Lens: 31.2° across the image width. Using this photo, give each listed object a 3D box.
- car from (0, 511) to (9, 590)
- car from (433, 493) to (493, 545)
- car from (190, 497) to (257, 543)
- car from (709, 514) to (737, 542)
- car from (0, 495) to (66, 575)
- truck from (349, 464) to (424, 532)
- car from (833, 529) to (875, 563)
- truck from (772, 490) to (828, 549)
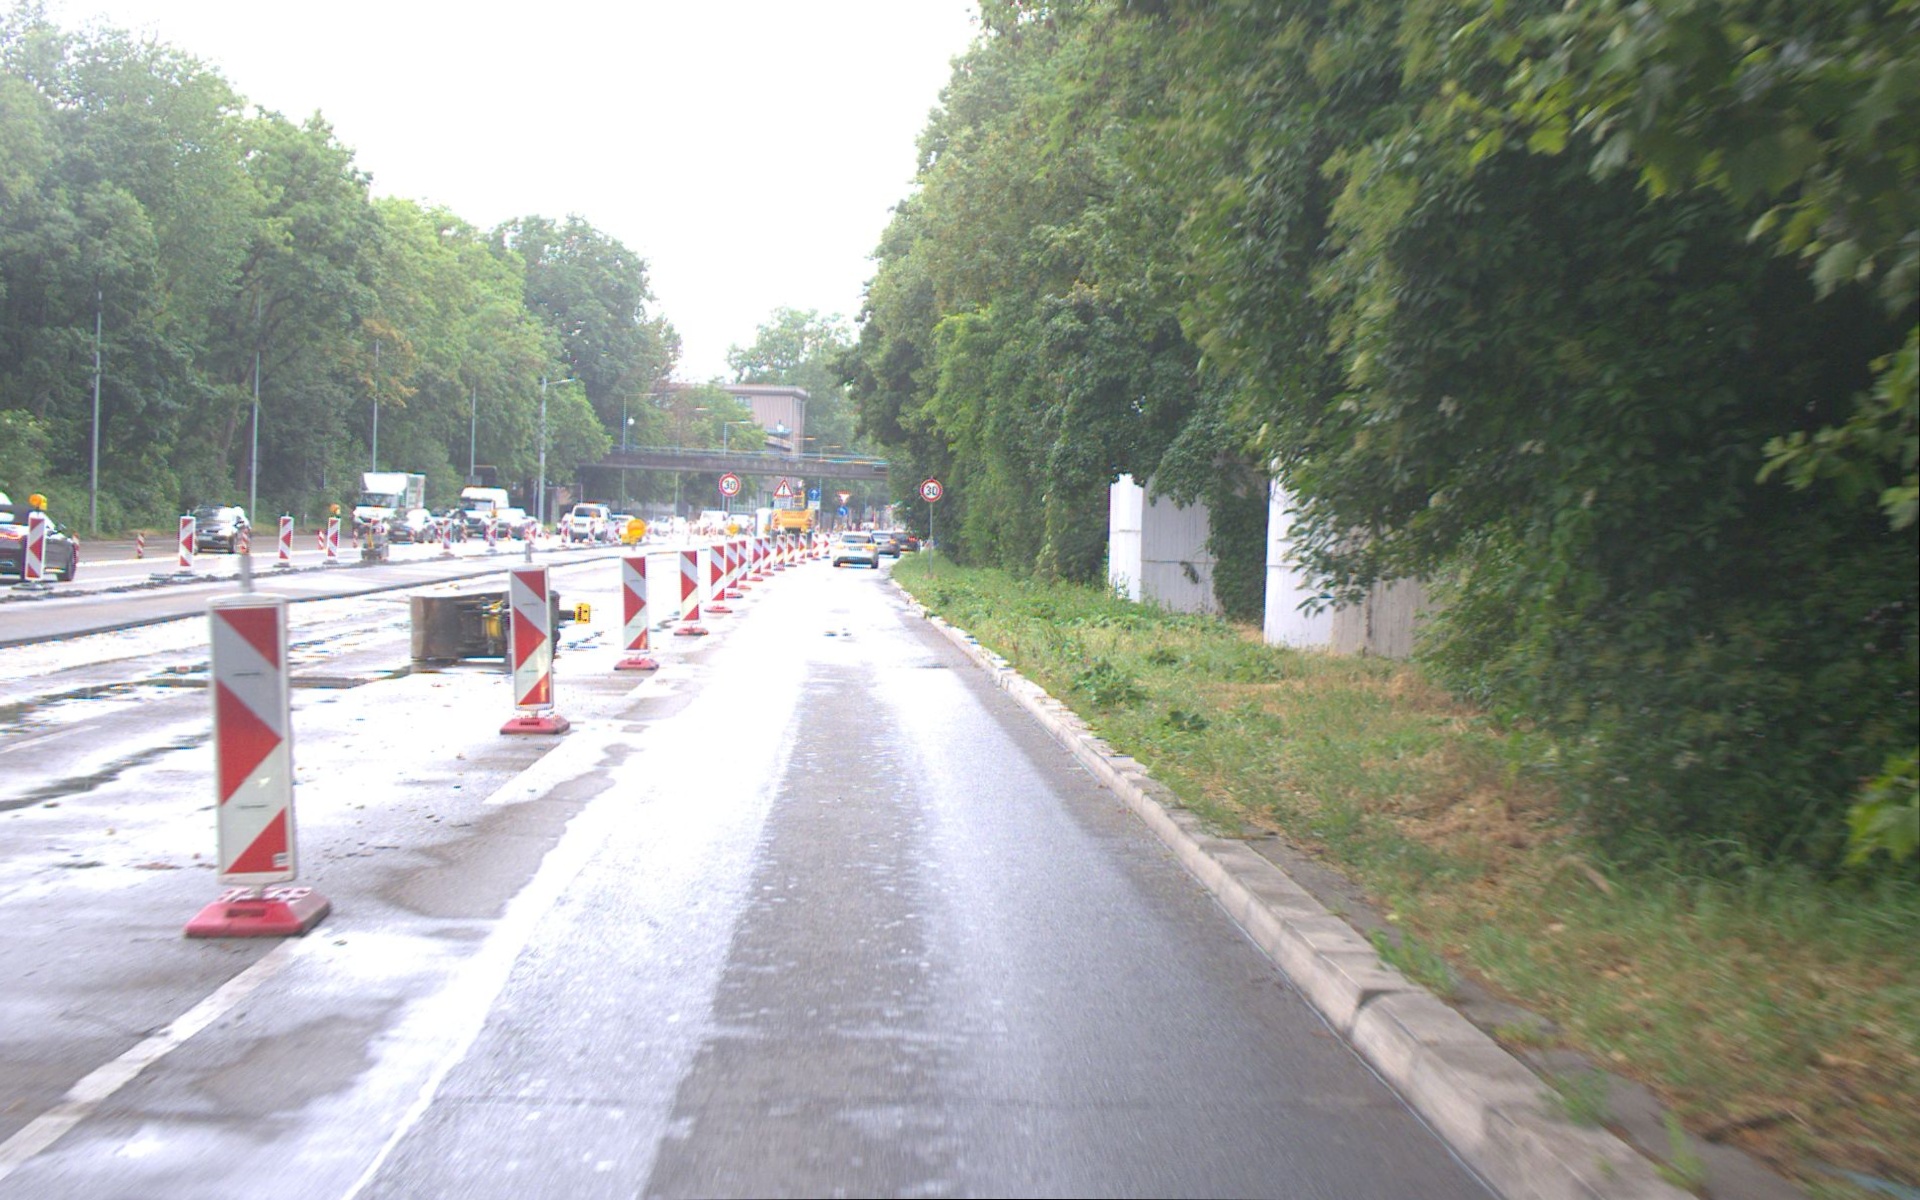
[{"bbox_3d":[-21.509,-1.063,72.564,1.734,1.716,4.494,2,1,-2],"label":"car"},{"bbox_3d":[-25.624,-4.172,177.463,2.099,2.571,6.854,2,1,-1],"label":"car"},{"bbox_3d":[-22.300,-2.432,104.125,1.447,1.328,3.862,2,1,-4],"label":"car"},{"bbox_3d":[-16.355,-4.986,237.577,1.670,1.802,4.321,2,2,-1],"label":"car"},{"bbox_3d":[-17.514,-1.205,62.375,1.607,1.399,4.041,2,1,-2],"label":"car"},{"bbox_3d":[-25.728,-4.572,154.516,2.246,2.930,6.936,2,1,-1],"label":"truck"},{"bbox_3d":[-4.314,-2.212,140.137,1.697,1.331,3.491,0,1,-2],"label":"car"},{"bbox_3d":[-9.986,-5.055,215.771,3.259,3.485,13.872,2,1,-2],"label":"truck"}]
